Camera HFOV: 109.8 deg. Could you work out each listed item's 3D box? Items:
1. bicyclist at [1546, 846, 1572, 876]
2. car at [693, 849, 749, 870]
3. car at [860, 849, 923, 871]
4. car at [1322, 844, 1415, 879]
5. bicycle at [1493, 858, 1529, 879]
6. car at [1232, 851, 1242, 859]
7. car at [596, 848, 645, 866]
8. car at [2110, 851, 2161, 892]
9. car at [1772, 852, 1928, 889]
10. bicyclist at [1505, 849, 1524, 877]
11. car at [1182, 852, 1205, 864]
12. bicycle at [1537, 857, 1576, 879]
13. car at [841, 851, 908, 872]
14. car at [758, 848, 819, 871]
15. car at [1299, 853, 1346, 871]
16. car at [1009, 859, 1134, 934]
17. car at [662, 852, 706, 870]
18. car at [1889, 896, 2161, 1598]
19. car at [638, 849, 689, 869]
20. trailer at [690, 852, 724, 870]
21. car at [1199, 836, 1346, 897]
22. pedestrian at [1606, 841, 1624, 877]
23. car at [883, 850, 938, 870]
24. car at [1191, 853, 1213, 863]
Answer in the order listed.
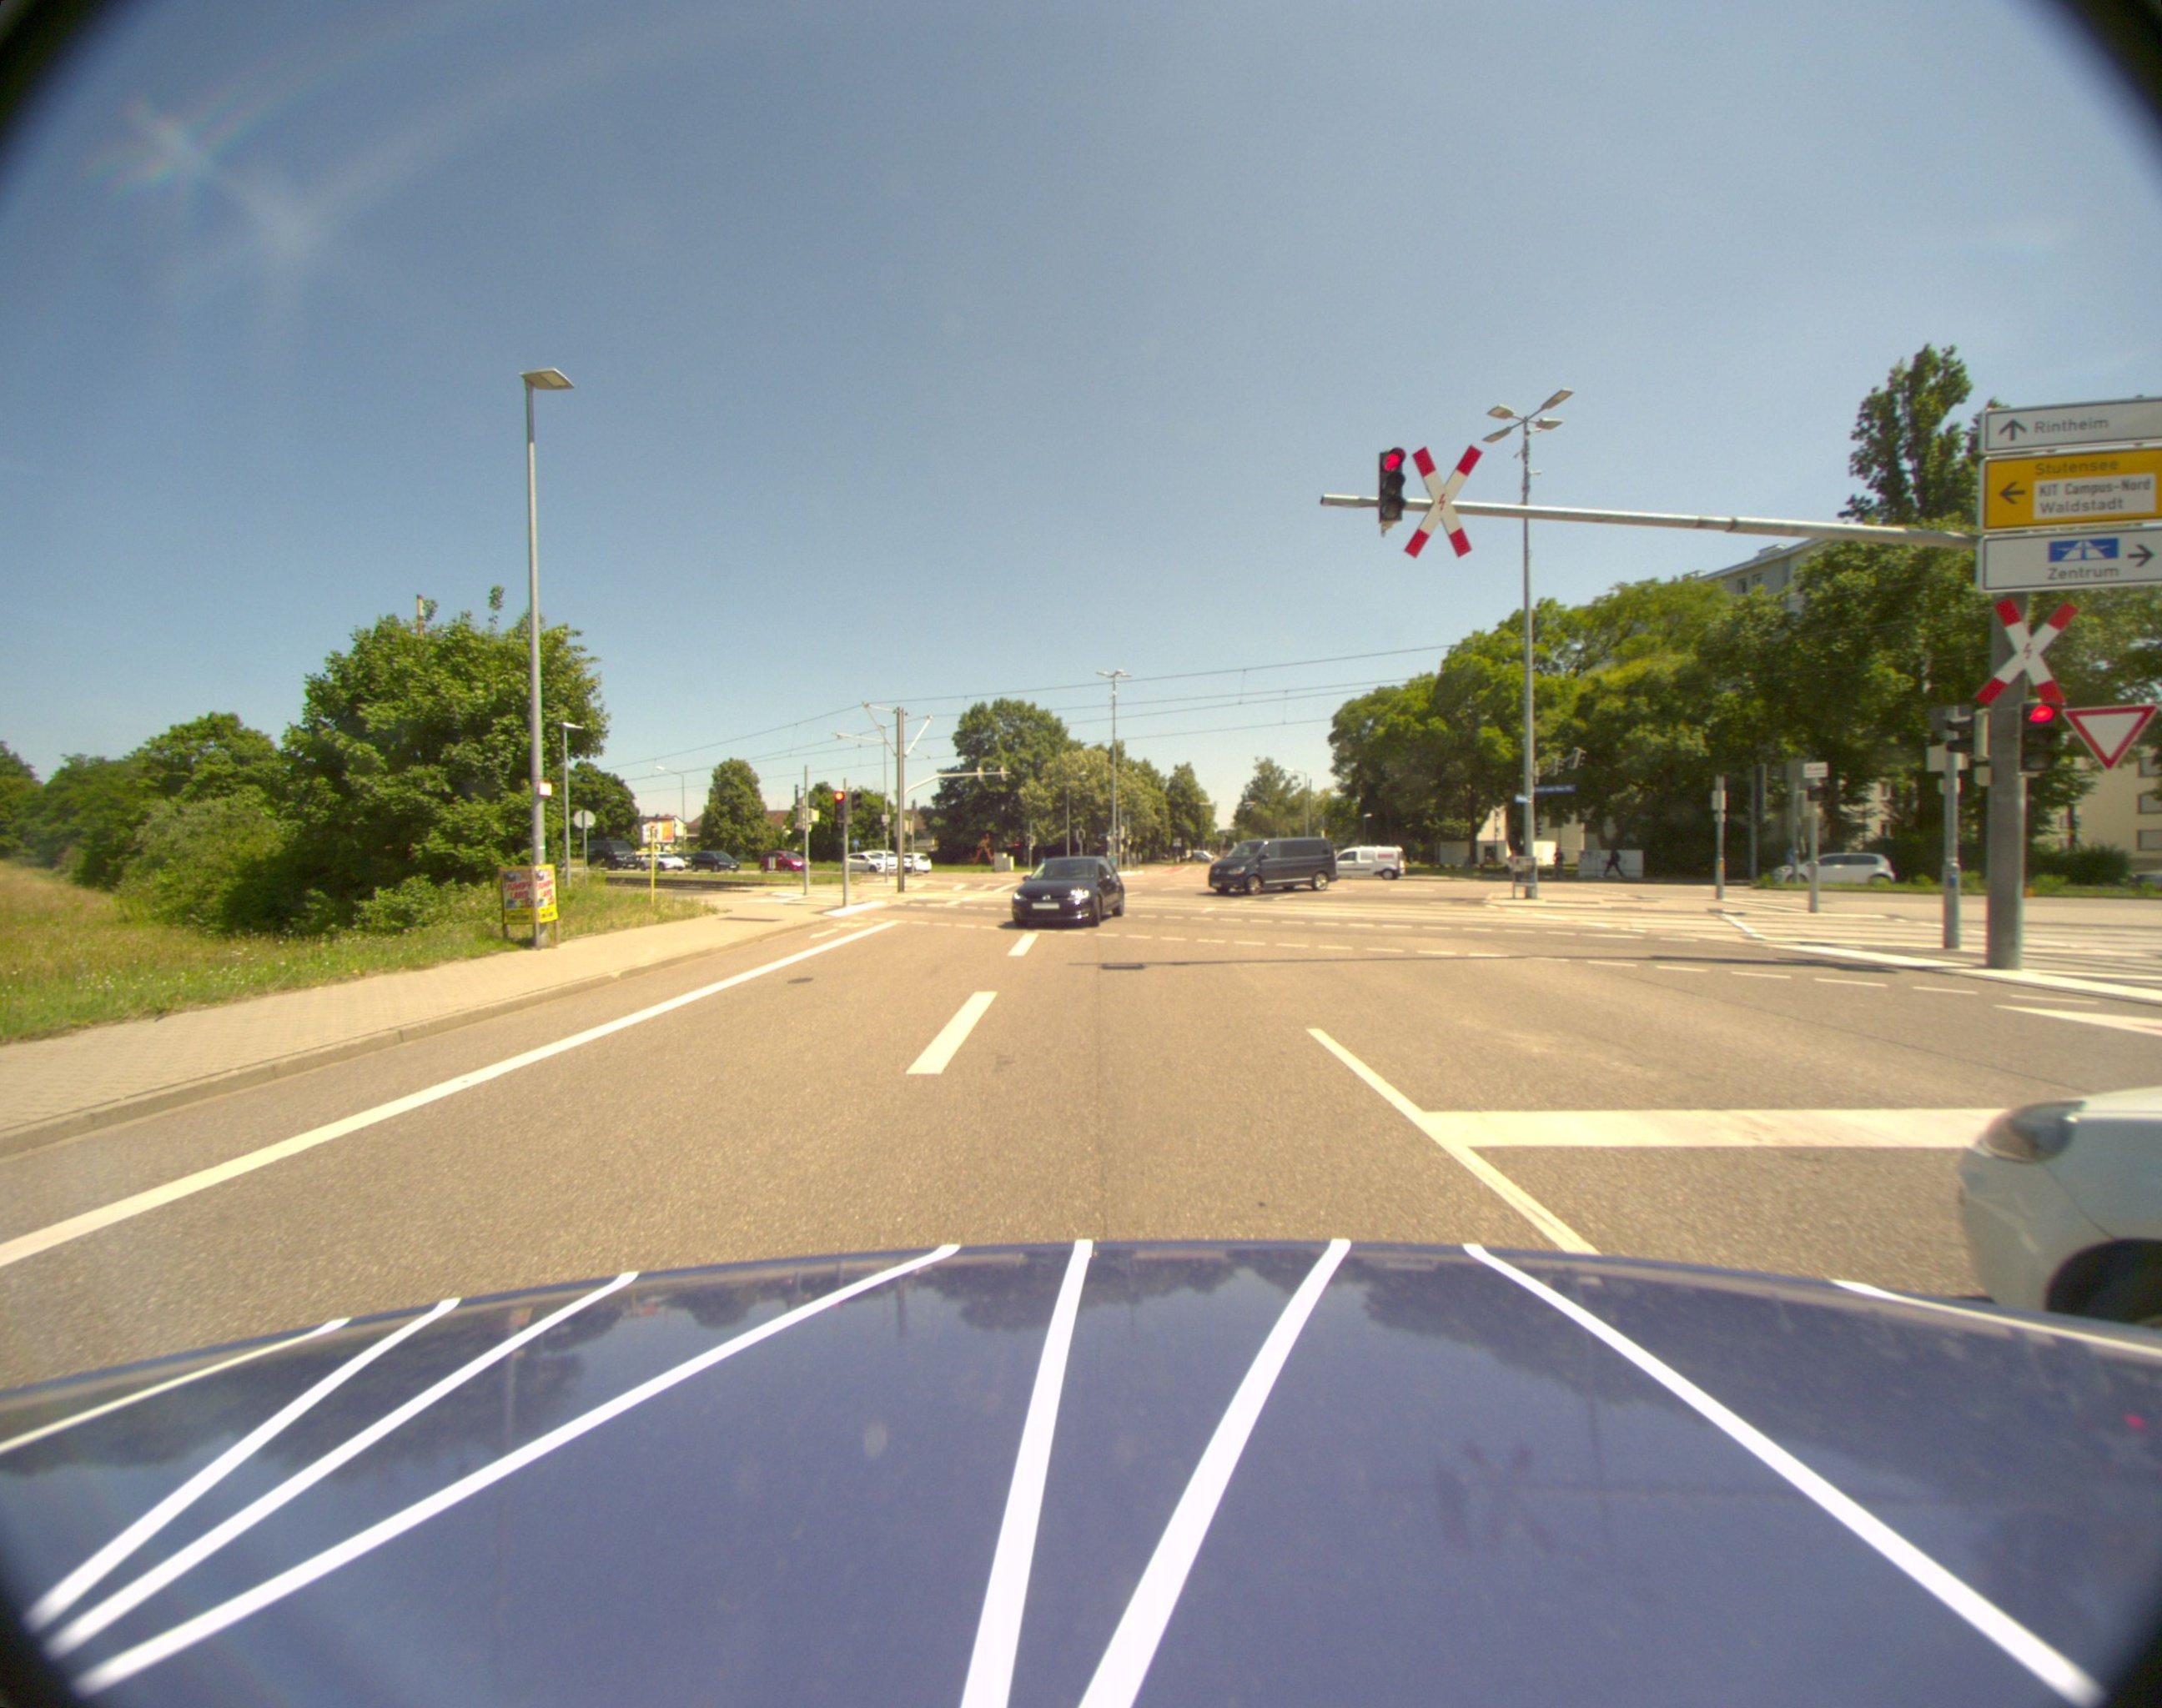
[{"bbox_3d":[25.013,0.363,39.763,0.648,1.536,0.908,-1,3,-13],"label":"bicyclist"},{"bbox_3d":[-28.127,0.408,59.353,4.399,1.567,1.879,0,0,32],"label":"car"},{"bbox_3d":[-13.585,0.417,54.453,4.399,1.567,1.879,0,0,32],"label":"car"},{"bbox_3d":[15.452,0.402,40.901,4.380,1.782,1.901,0,-2,31],"label":"car"},{"bbox_3d":[22.793,0.766,40.329,0.616,1.057,1.803,-1,1,-13],"label":"bicycle"},{"bbox_3d":[26.801,0.223,130.580,1.582,1.219,3.496,-1,-2,12],"label":"car"},{"bbox_3d":[-40.296,0.266,66.496,4.399,1.567,1.879,0,0,32],"label":"car"},{"bbox_3d":[39.442,0.609,26.277,4.203,1.416,1.853,0,0,33],"label":"car"},{"bbox_3d":[31.567,0.658,31.369,4.203,1.416,1.853,0,0,32],"label":"car"},{"bbox_3d":[22.856,0.469,40.069,0.616,1.460,0.628,-1,3,-13],"label":"bicyclist"},{"bbox_3d":[18.438,0.678,124.576,3.768,1.718,1.764,-1,-2,9],"label":"car"},{"bbox_3d":[24.948,0.719,39.912,0.616,1.057,1.803,-1,3,-13],"label":"bicycle"},{"bbox_3d":[-13.841,0.502,50.827,4.399,1.380,1.879,0,-1,32],"label":"car"},{"bbox_3d":[-21.304,0.391,55.259,4.399,1.567,1.879,0,0,32],"label":"car"},{"bbox_3d":[20.436,0.692,64.324,3.488,1.419,1.586,-1,-2,6],"label":"car"},{"bbox_3d":[-0.069,0.842,16.762,1.707,1.396,4.058,-2,0,15],"label":"car"},{"bbox_3d":[-37.996,0.667,72.729,4.396,1.648,1.735,0,0,31],"label":"car"},{"bbox_3d":[3.109,0.841,0.134,1.772,1.429,3.961,-2,0,1],"label":"car"},{"bbox_3d":[-34.477,0.416,62.692,4.399,1.567,1.734,0,0,32],"label":"car"},{"bbox_3d":[-34.862,0.665,70.818,2.929,1.645,1.412,0,0,31],"label":"trailer"},{"bbox_3d":[6.842,0.394,27.143,4.851,1.920,1.939,-2,1,-22],"label":"car"},{"bbox_3d":[27.443,0.268,39.047,0.677,1.825,0.609,0,2,30],"label":"pedestrian"},{"bbox_3d":[-12.981,0.443,57.835,3.887,1.496,1.735,0,0,30],"label":"car"},{"bbox_3d":[19.011,0.692,119.430,3.487,1.467,1.586,-1,-2,9],"label":"car"}]
